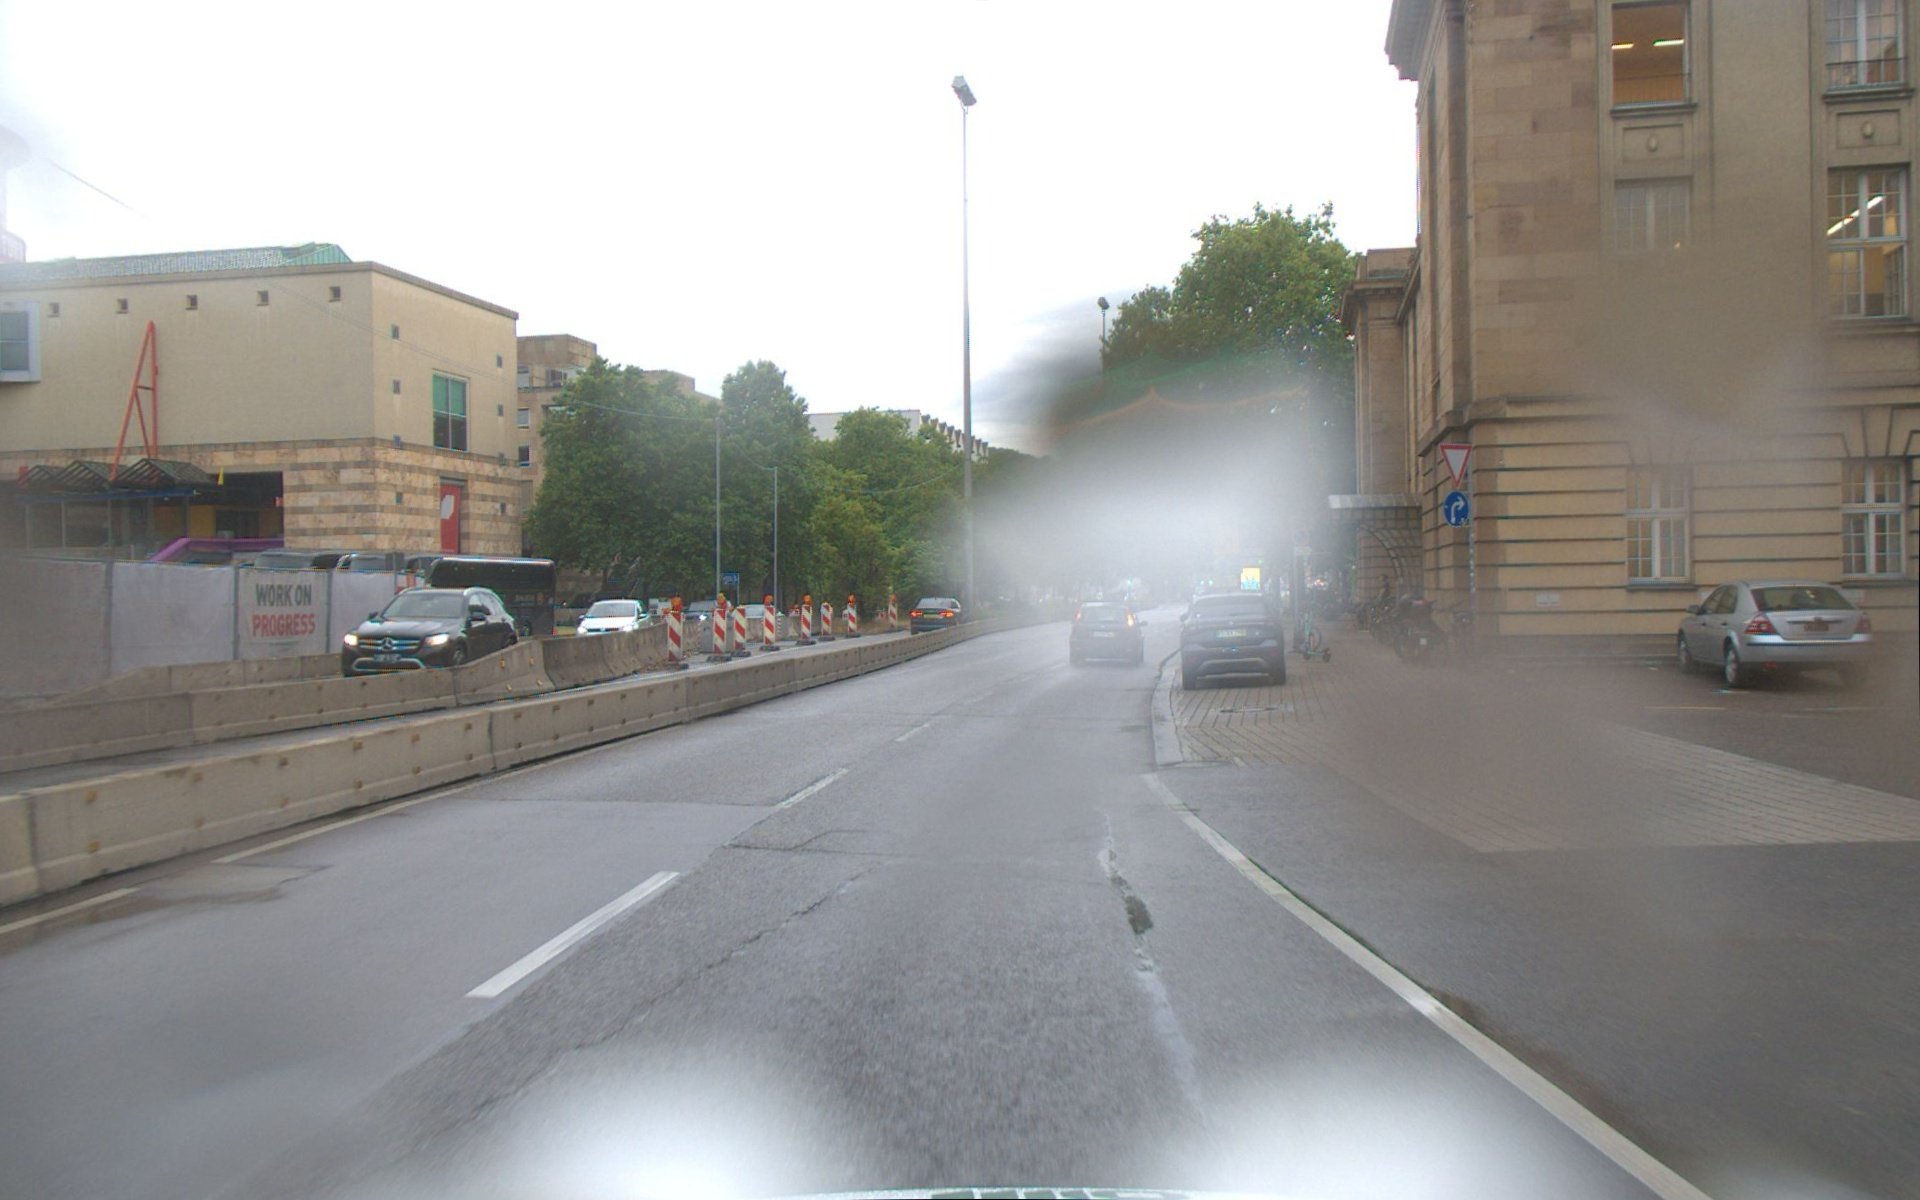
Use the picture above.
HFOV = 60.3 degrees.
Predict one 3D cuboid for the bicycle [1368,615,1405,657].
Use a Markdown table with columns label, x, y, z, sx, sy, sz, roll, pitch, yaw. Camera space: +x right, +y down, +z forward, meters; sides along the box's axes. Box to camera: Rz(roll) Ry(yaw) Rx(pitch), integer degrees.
| label | x | y | z | sx | sy | sz | roll | pitch | yaw |
| --- | --- | --- | --- | --- | --- | --- | --- | --- | --- |
| bicycle | 11.234 | 0.939 | 43.599 | 0.697 | 1.070 | 1.741 | 0 | -1 | 6 |

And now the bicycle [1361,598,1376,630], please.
| label | x | y | z | sx | sy | sz | roll | pitch | yaw |
| --- | --- | --- | --- | --- | --- | --- | --- | --- | --- |
| bicycle | 16.286 | 0.544 | 65.980 | 0.444 | 1.273 | 1.601 | 1 | 0 | 9 |

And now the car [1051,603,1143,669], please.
| label | x | y | z | sx | sy | sz | roll | pitch | yaw |
| --- | --- | --- | --- | --- | --- | --- | --- | --- | --- |
| car | 3.224 | 0.856 | 39.524 | 1.806 | 1.441 | 3.838 | -2 | -1 | 0 |

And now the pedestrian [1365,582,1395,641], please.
| label | x | y | z | sx | sy | sz | roll | pitch | yaw |
| --- | --- | --- | --- | --- | --- | --- | --- | --- | --- |
| pedestrian | 13.404 | 0.362 | 52.825 | 0.778 | 1.808 | 0.642 | -3 | -1 | 10 |

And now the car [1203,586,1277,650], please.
| label | x | y | z | sx | sy | sz | roll | pitch | yaw |
| --- | --- | --- | --- | --- | --- | --- | --- | --- | --- |
| car | 8.293 | 0.521 | 48.783 | 1.951 | 1.812 | 4.192 | 0 | 0 | 12 |

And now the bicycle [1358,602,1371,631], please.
| label | x | y | z | sx | sy | sz | roll | pitch | yaw |
| --- | --- | --- | --- | --- | --- | --- | --- | --- | --- |
| bicycle | 15.960 | 0.646 | 65.288 | 0.344 | 1.099 | 1.791 | 0 | 0 | 10 |

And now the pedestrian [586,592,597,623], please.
| label | x | y | z | sx | sy | sz | roll | pitch | yaw |
| --- | --- | --- | --- | --- | --- | --- | --- | --- | --- |
| pedestrian | -24.093 | 0.499 | 108.252 | 0.467 | 2.049 | 0.512 | -2 | -1 | 11 |

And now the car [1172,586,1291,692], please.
| label | x | y | z | sx | sy | sz | roll | pitch | yaw |
| --- | --- | --- | --- | --- | --- | --- | --- | --- | --- |
| car | 4.692 | 0.617 | 28.582 | 1.831 | 1.647 | 4.408 | -2 | 0 | 10 |

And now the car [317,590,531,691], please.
| label | x | y | z | sx | sy | sz | roll | pitch | yaw |
| --- | --- | --- | --- | --- | --- | --- | --- | --- | --- |
| car | -9.018 | 0.621 | 28.293 | 1.880 | 1.557 | 4.763 | -1 | 0 | 3 |

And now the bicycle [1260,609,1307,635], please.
| label | x | y | z | sx | sy | sz | roll | pitch | yaw |
| --- | --- | --- | --- | --- | --- | --- | --- | --- | --- |
| bicycle | 13.783 | 0.926 | 70.491 | 1.943 | 1.078 | 0.760 | 0 | 0 | 7 |

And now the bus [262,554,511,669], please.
| label | x | y | z | sx | sy | sz | roll | pitch | yaw |
| --- | --- | --- | --- | --- | --- | --- | --- | --- | --- |
| bus | -23.699 | 0.388 | 69.684 | 3.052 | 4.326 | 13.505 | 1 | 0 | 14 |

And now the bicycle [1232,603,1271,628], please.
| label | x | y | z | sx | sy | sz | roll | pitch | yaw |
| --- | --- | --- | --- | --- | --- | --- | --- | --- | --- |
| bicycle | 12.708 | 0.672 | 72.205 | 1.643 | 1.109 | 0.651 | 0 | 0 | 13 |

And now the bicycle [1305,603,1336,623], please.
| label | x | y | z | sx | sy | sz | roll | pitch | yaw |
| --- | --- | --- | --- | --- | --- | --- | --- | --- | --- |
| bicycle | 19.620 | 0.684 | 89.915 | 1.606 | 1.038 | 0.575 | 2 | 0 | 16 |

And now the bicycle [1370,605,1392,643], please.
| label | x | y | z | sx | sy | sz | roll | pitch | yaw |
| --- | --- | --- | --- | --- | --- | --- | --- | --- | --- |
| bicycle | 11.814 | 0.660 | 46.413 | 0.571 | 1.056 | 1.760 | 0 | -1 | 14 |

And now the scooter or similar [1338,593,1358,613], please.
| label | x | y | z | sx | sy | sz | roll | pitch | yaw |
| --- | --- | --- | --- | --- | --- | --- | --- | --- | --- |
| scooter or similar | 25.363 | 0.225 | 108.158 | 0.534 | 1.277 | 1.428 | -2 | 0 | -20 |

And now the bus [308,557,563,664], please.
| label | x | y | z | sx | sy | sz | roll | pitch | yaw |
| --- | --- | --- | --- | --- | --- | --- | --- | --- | --- |
| bus | -21.081 | 0.344 | 68.163 | 2.744 | 3.877 | 14.609 | 1 | 0 | 14 |

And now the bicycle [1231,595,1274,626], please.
| label | x | y | z | sx | sy | sz | roll | pitch | yaw |
| --- | --- | --- | --- | --- | --- | --- | --- | --- | --- |
| bicycle | 12.896 | 0.468 | 72.932 | 1.865 | 1.356 | 0.651 | 0 | 0 | 13 |

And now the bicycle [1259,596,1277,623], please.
| label | x | y | z | sx | sy | sz | roll | pitch | yaw |
| --- | --- | --- | --- | --- | --- | --- | --- | --- | --- |
| bicycle | 14.765 | 0.453 | 79.231 | 0.592 | 1.218 | 1.905 | -2 | -1 | 18 |

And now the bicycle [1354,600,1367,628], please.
| label | x | y | z | sx | sy | sz | roll | pitch | yaw |
| --- | --- | --- | --- | --- | --- | --- | --- | --- | --- |
| bicycle | 16.204 | 0.583 | 66.891 | 0.344 | 1.099 | 1.791 | -2 | -1 | 10 |

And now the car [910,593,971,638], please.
| label | x | y | z | sx | sy | sz | roll | pitch | yaw |
| --- | --- | --- | --- | --- | --- | --- | --- | --- | --- |
| car | -0.698 | 0.580 | 62.666 | 1.717 | 1.477 | 4.003 | -5 | -1 | 6 |

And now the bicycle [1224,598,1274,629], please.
| label | x | y | z | sx | sy | sz | roll | pitch | yaw |
| --- | --- | --- | --- | --- | --- | --- | --- | --- | --- |
| bicycle | 12.840 | 0.594 | 73.499 | 2.144 | 1.360 | 0.651 | 0 | 0 | 13 |

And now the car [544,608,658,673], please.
| label | x | y | z | sx | sy | sz | roll | pitch | yaw |
| --- | --- | --- | --- | --- | --- | --- | --- | --- | --- |
| car | -9.432 | 1.030 | 43.784 | 1.952 | 1.557 | 4.002 | -1 | 0 | 3 |

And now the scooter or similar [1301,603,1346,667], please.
| label | x | y | z | sx | sy | sz | roll | pitch | yaw |
| --- | --- | --- | --- | --- | --- | --- | --- | --- | --- |
| scooter or similar | 7.617 | 0.722 | 34.736 | 0.426 | 1.315 | 1.253 | 0 | -1 | -13 |

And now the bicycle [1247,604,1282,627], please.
| label | x | y | z | sx | sy | sz | roll | pitch | yaw |
| --- | --- | --- | --- | --- | --- | --- | --- | --- | --- |
| bicycle | 13.642 | 0.684 | 74.116 | 1.555 | 1.012 | 0.525 | 0 | 0 | 13 |

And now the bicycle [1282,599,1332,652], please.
| label | x | y | z | sx | sy | sz | roll | pitch | yaw |
| --- | --- | --- | --- | --- | --- | --- | --- | --- | --- |
| bicycle | 8.589 | 0.623 | 41.028 | 0.760 | 1.240 | 1.965 | -2 | 0 | 0 |

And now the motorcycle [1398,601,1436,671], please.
| label | x | y | z | sx | sy | sz | roll | pitch | yaw |
| --- | --- | --- | --- | --- | --- | --- | --- | --- | --- |
| motorcycle | 9.024 | 0.699 | 32.724 | 0.653 | 1.349 | 2.136 | 0 | -1 | 14 |

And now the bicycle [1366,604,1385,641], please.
| label | x | y | z | sx | sy | sz | roll | pitch | yaw |
| --- | --- | --- | --- | --- | --- | --- | --- | --- | --- |
| bicycle | 13.974 | 0.742 | 55.670 | 0.454 | 1.236 | 1.693 | 0 | -1 | 8 |

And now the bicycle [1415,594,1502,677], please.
| label | x | y | z | sx | sy | sz | roll | pitch | yaw |
| --- | --- | --- | --- | --- | --- | --- | --- | --- | --- |
| bicycle | 8.376 | 0.585 | 27.889 | 1.078 | 1.340 | 1.860 | 0 | -1 | 7 |

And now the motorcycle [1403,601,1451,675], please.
| label | x | y | z | sx | sy | sz | roll | pitch | yaw |
| --- | --- | --- | --- | --- | --- | --- | --- | --- | --- |
| motorcycle | 8.602 | 0.694 | 30.494 | 0.789 | 1.321 | 1.800 | 0 | -1 | 14 |

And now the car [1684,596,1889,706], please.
| label | x | y | z | sx | sy | sz | roll | pitch | yaw |
| --- | --- | --- | --- | --- | --- | --- | --- | --- | --- |
| car | 11.777 | 0.695 | 23.835 | 1.488 | 1.435 | 4.131 | -1 | -1 | 10 |
